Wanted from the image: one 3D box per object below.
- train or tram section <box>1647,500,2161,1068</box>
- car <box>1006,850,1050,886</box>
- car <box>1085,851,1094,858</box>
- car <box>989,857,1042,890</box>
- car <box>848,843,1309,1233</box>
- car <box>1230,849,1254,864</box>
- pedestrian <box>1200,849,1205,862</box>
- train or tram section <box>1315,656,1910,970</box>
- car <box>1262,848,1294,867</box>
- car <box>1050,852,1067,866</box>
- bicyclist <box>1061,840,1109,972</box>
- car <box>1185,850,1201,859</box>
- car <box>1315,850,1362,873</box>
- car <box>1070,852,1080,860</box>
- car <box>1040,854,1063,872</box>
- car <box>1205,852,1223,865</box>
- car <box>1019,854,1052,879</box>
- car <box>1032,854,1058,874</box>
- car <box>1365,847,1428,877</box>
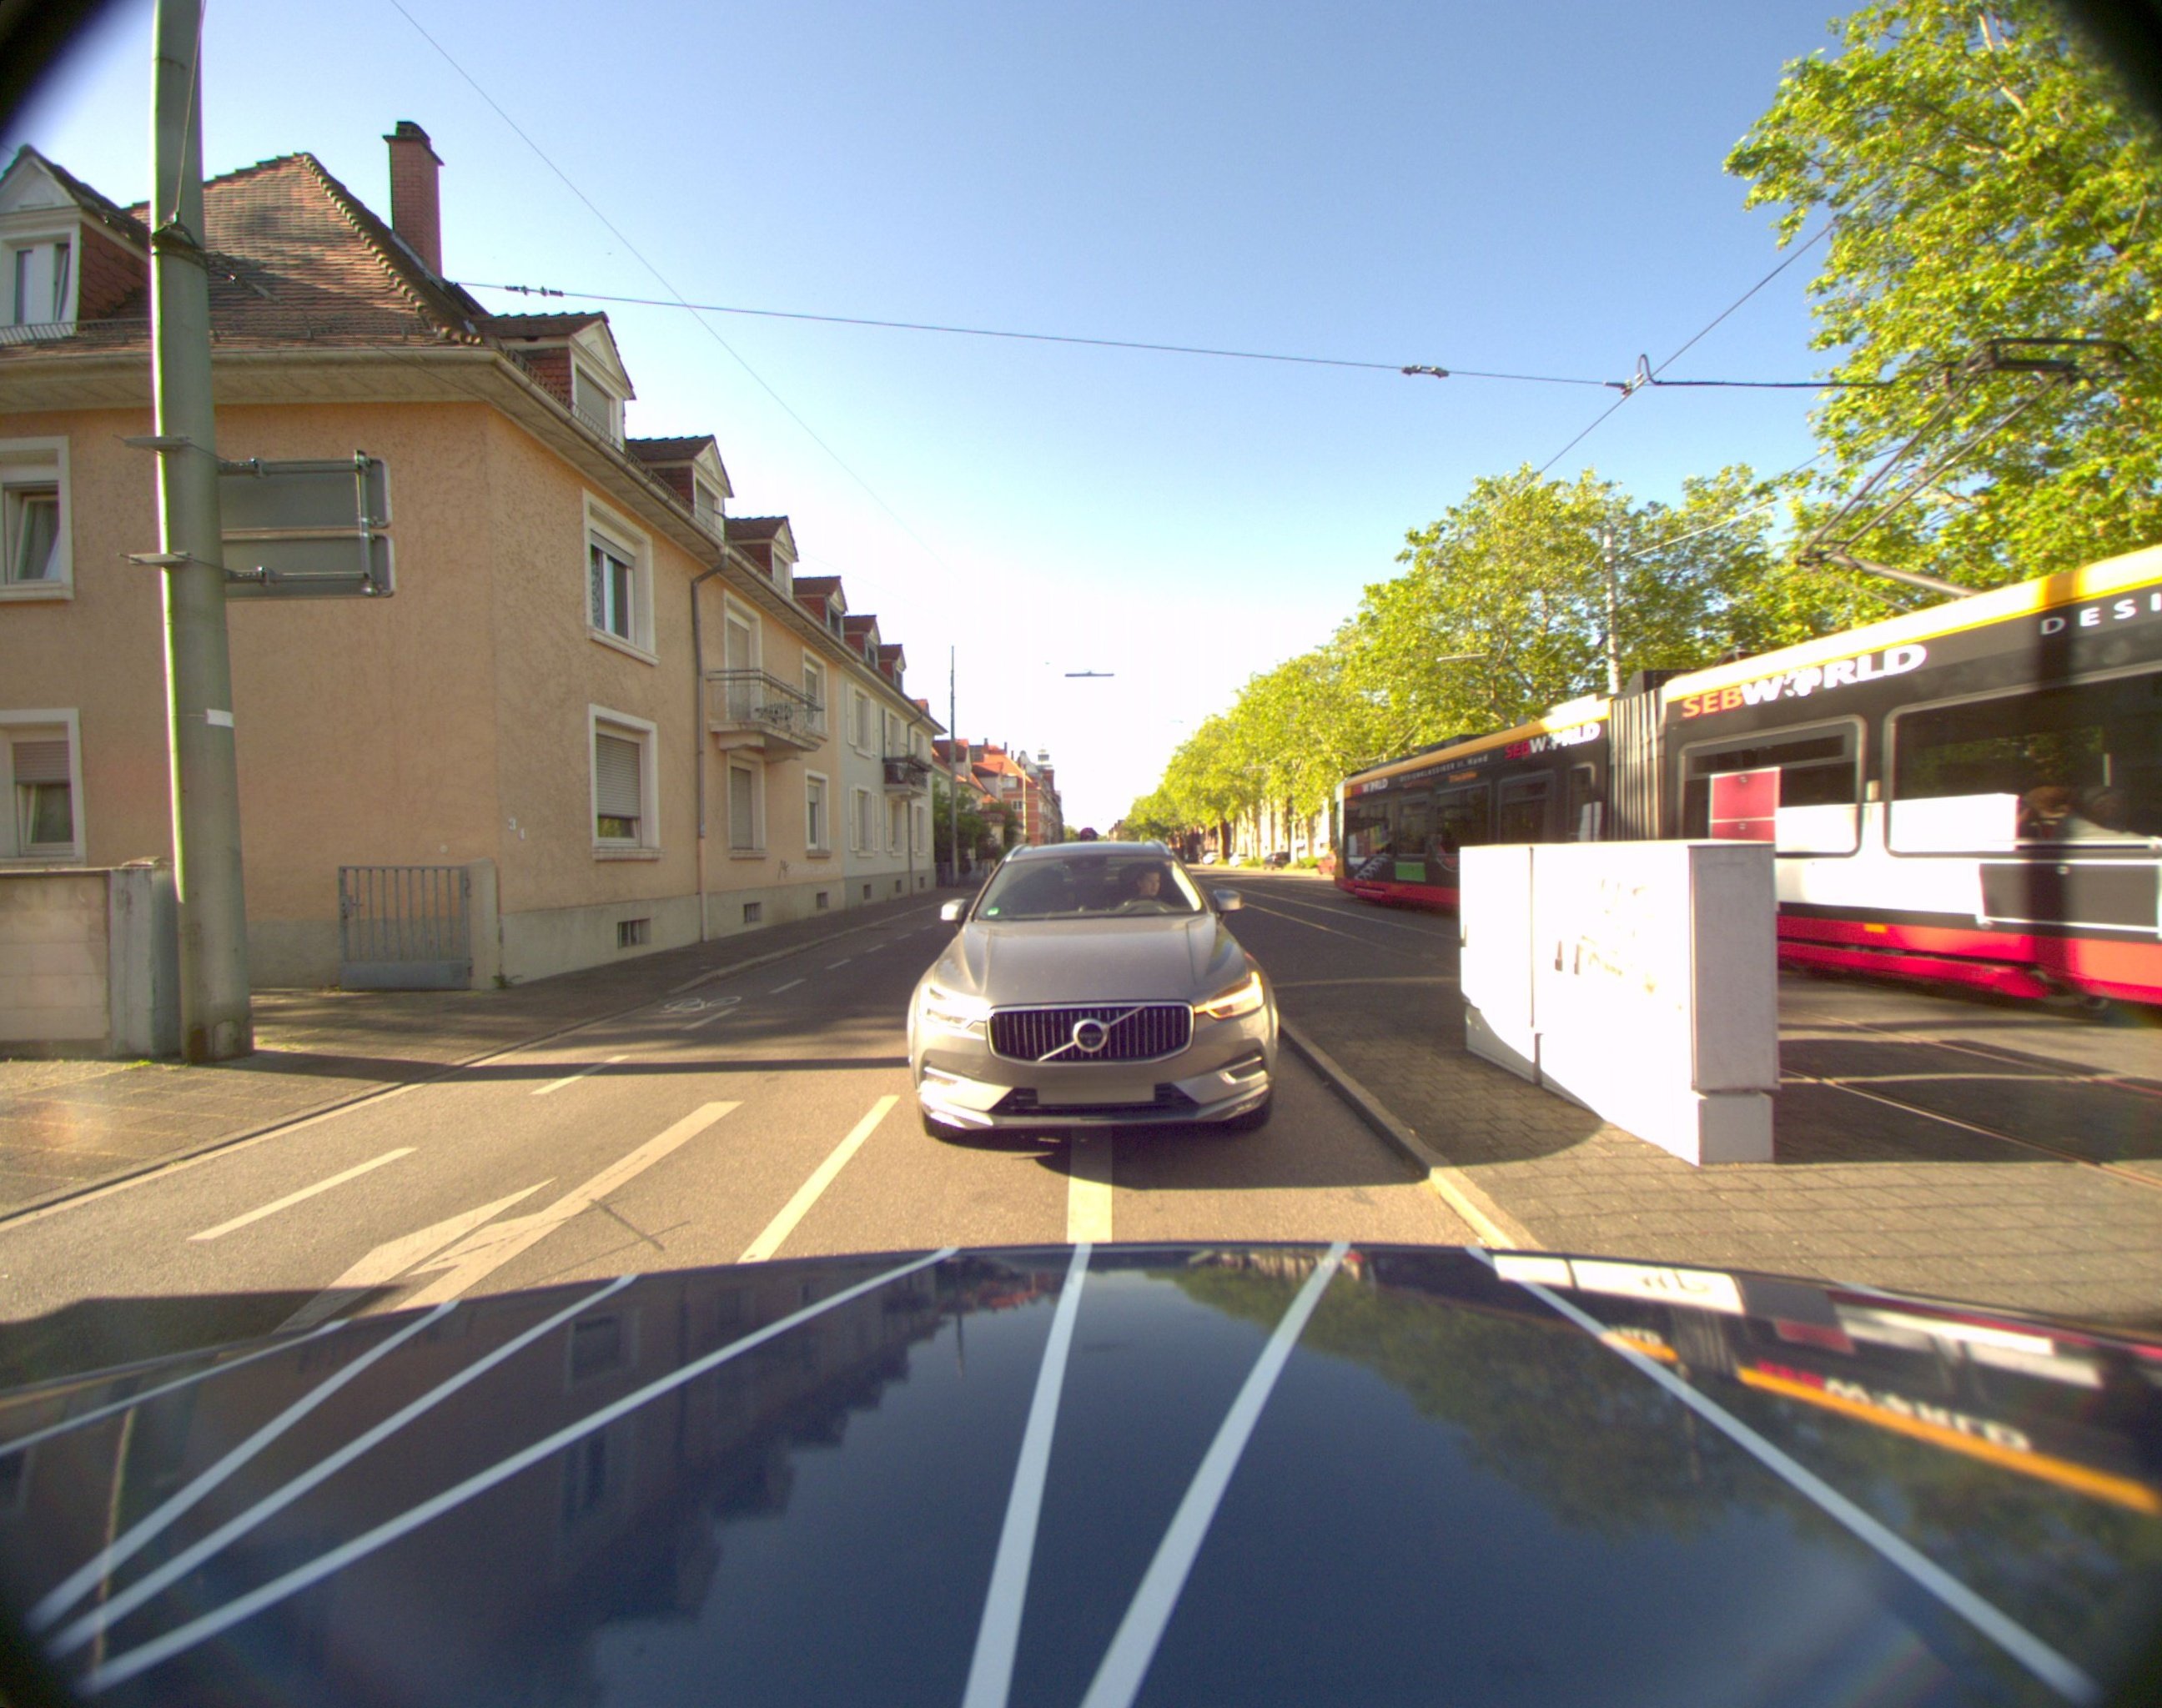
[{"bbox_3d":[8.515,-0.456,2.925,3.064,3.592,11.944,-1,0,-4],"label":"train or tram section"},{"bbox_3d":[-2.900,0.731,42.944,1.932,1.834,5.313,-1,0,2],"label":"car"},{"bbox_3d":[1.950,0.026,170.723,1.882,1.477,3.999,-1,0,-1],"label":"car"},{"bbox_3d":[-3.136,0.898,37.185,1.881,1.477,4.001,-1,0,5],"label":"car"},{"bbox_3d":[0.021,0.771,5.463,1.917,1.621,4.502,-1,0,1],"label":"car"},{"bbox_3d":[17.711,0.275,83.580,1.882,1.542,4.000,-1,0,2],"label":"car"},{"bbox_3d":[15.620,0.195,97.556,0.578,1.632,0.677,-1,1,3],"label":"pedestrian"},{"bbox_3d":[8.181,-0.500,15.295,3.063,3.592,12.888,-1,0,1],"label":"train or tram section"},{"bbox_3d":[17.106,0.318,66.005,1.882,1.567,4.000,-1,0,2],"label":"car"},{"bbox_3d":[-2.502,0.587,85.671,1.882,1.477,3.999,-1,0,-1],"label":"car"},{"bbox_3d":[0.054,0.675,10.236,0.600,1.709,0.662,-1,1,1],"label":"bicyclist"},{"bbox_3d":[18.533,0.095,125.699,1.882,1.542,3.999,-1,0,-2],"label":"car"},{"bbox_3d":[17.007,0.469,50.352,1.882,1.477,4.000,-1,0,2],"label":"car"},{"bbox_3d":[-1.097,0.316,147.913,1.882,1.477,3.999,-1,0,-1],"label":"car"},{"bbox_3d":[-2.605,0.775,67.183,1.882,1.477,3.999,-1,0,-1],"label":"car"},{"bbox_3d":[17.644,0.595,100.889,1.882,1.542,4.000,-1,0,2],"label":"car"},{"bbox_3d":[-2.835,0.788,48.455,1.882,1.477,3.999,-1,0,-1],"label":"car"},{"bbox_3d":[-2.873,0.794,61.005,1.882,1.477,3.999,-1,0,-1],"label":"car"},{"bbox_3d":[16.954,0.400,41.004,1.882,1.477,4.000,-1,0,2],"label":"car"}]
